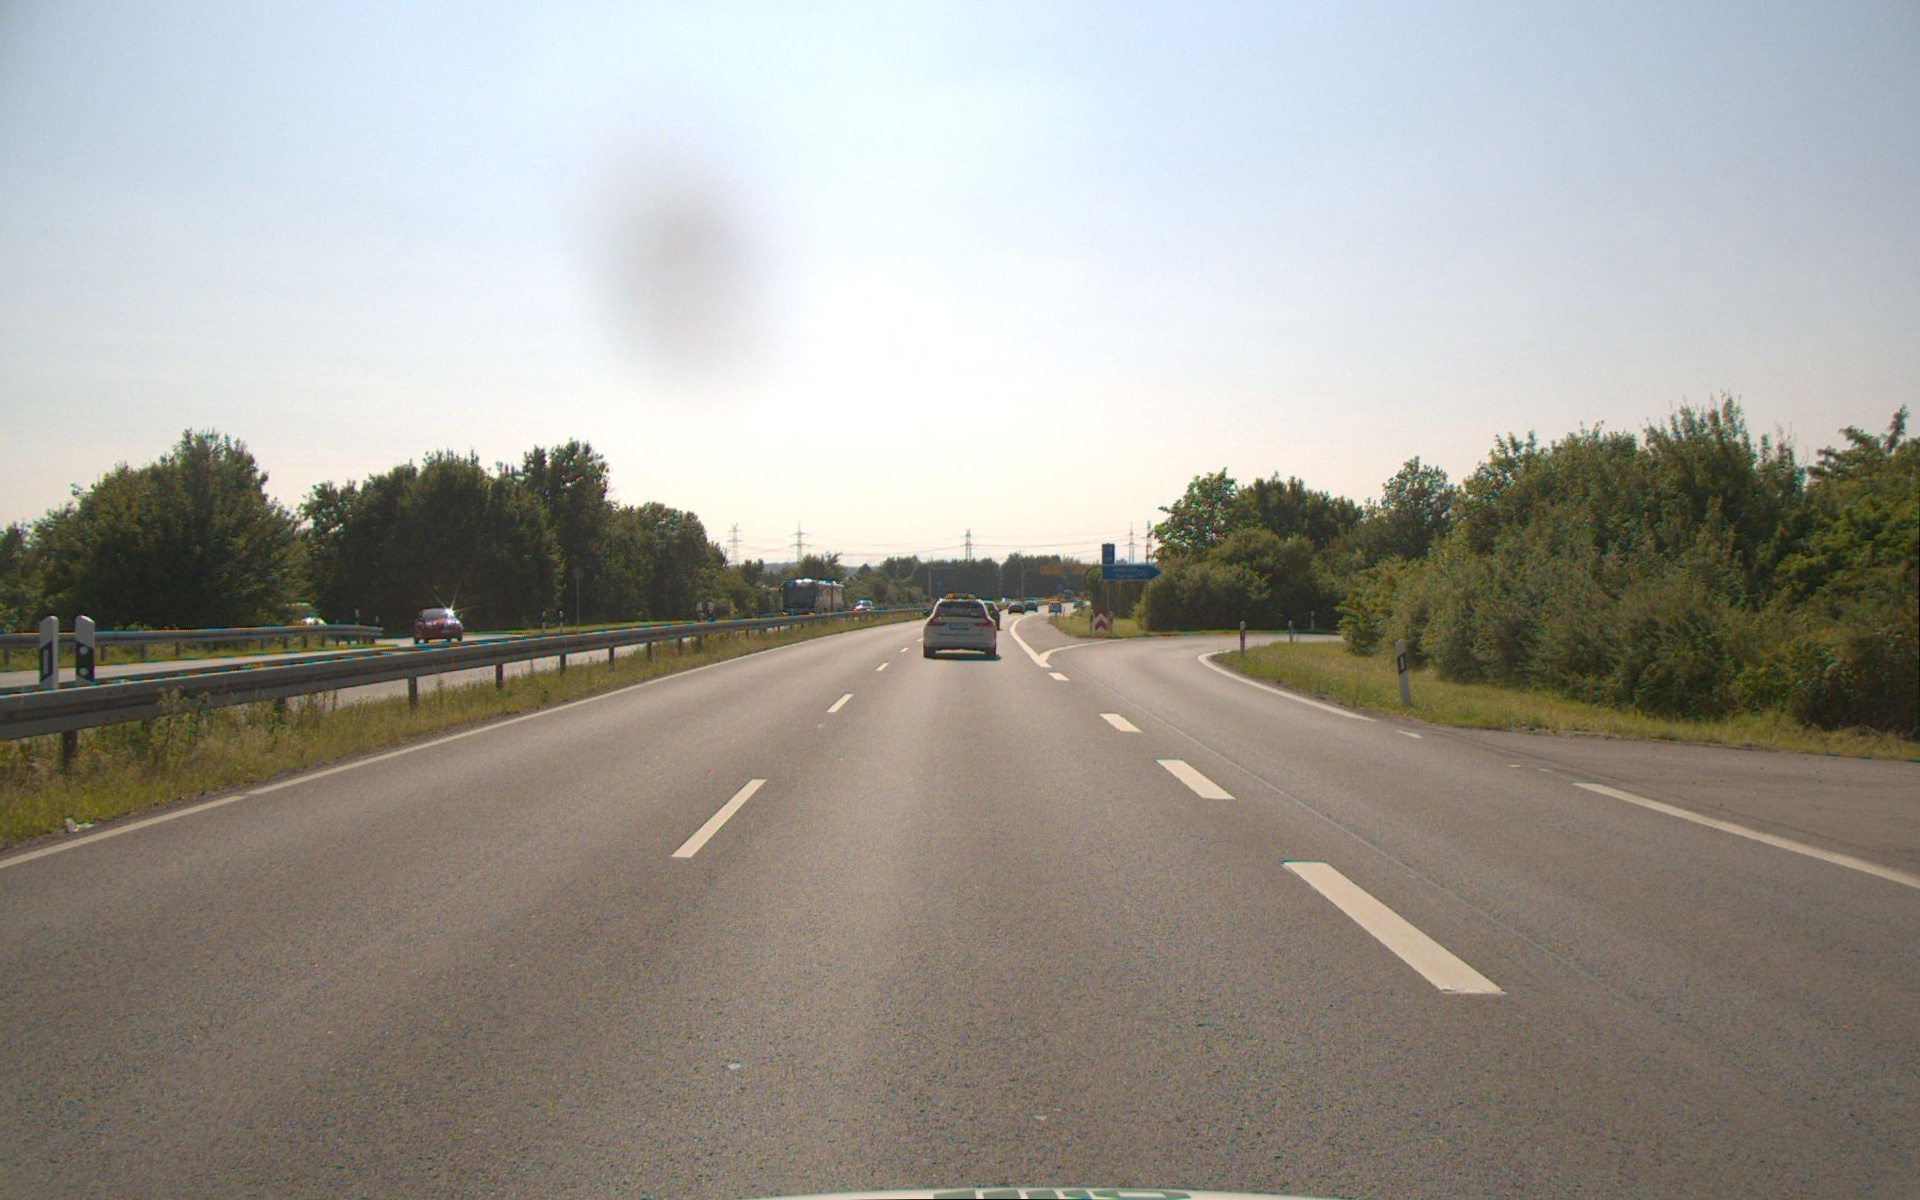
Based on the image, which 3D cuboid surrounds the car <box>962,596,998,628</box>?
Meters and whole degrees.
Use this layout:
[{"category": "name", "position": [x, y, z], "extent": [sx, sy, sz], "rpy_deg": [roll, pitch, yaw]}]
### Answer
[{"category": "car", "position": [0.975, 0.598, 83.594], "extent": [1.756, 1.570, 3.671], "rpy_deg": [1, 0, 0]}]

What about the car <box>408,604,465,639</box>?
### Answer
[{"category": "car", "position": [-23.558, 0.932, 74.356], "extent": [1.764, 1.471, 3.964], "rpy_deg": [-1, 0, -27]}]

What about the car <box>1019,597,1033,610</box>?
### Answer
[{"category": "car", "position": [8.938, 0.426, 224.082], "extent": [1.803, 1.728, 4.000], "rpy_deg": [1, 0, 0]}]

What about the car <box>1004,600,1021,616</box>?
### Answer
[{"category": "car", "position": [6.168, 0.893, 194.065], "extent": [1.802, 1.834, 4.002], "rpy_deg": [1, 0, 3]}]

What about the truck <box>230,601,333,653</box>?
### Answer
[{"category": "truck", "position": [-36.701, 1.474, 89.412], "extent": [6.487, 2.496, 2.125], "rpy_deg": [-3, 0, 38]}]

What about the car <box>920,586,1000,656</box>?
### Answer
[{"category": "car", "position": [-0.004, 0.502, 42.555], "extent": [1.918, 1.629, 4.107], "rpy_deg": [1, 1, 0]}]

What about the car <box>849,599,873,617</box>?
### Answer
[{"category": "car", "position": [-9.921, 0.803, 165.999], "extent": [1.952, 1.633, 4.275], "rpy_deg": [1, 1, 1]}]

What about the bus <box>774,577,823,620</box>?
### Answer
[{"category": "bus", "position": [-12.332, -0.146, 126.883], "extent": [2.669, 3.164, 9.836], "rpy_deg": [0, 0, 1]}]
